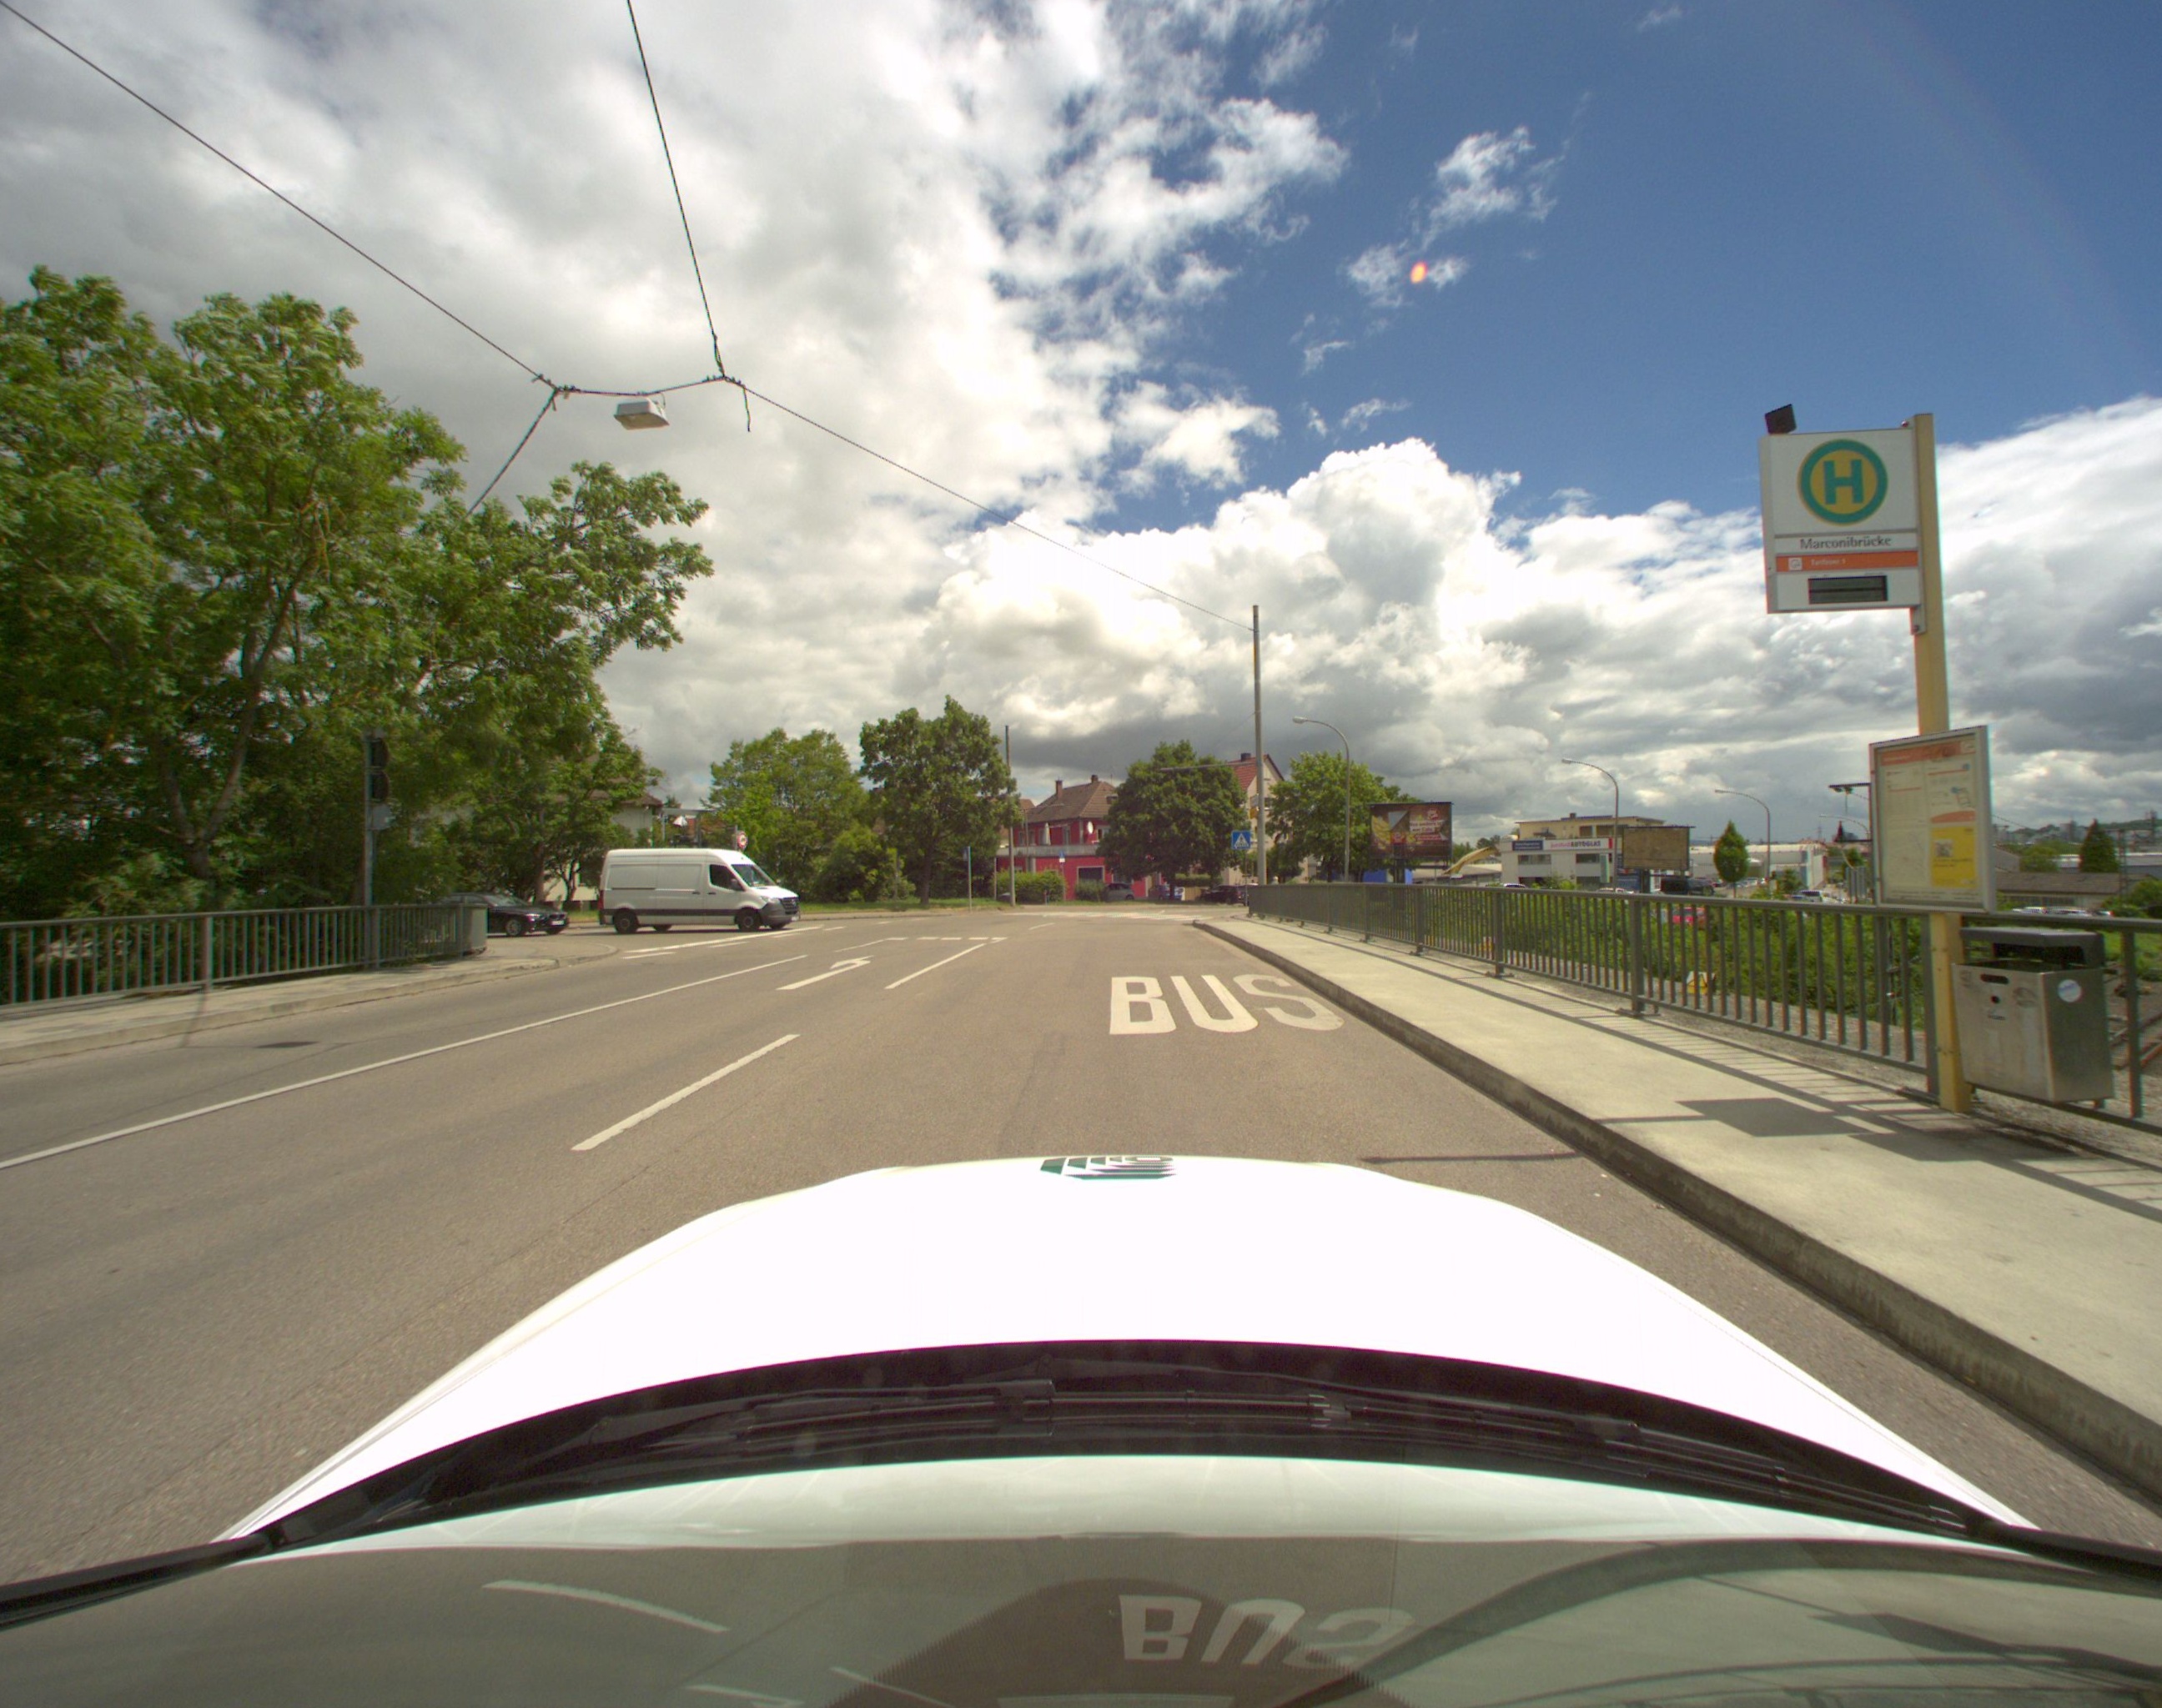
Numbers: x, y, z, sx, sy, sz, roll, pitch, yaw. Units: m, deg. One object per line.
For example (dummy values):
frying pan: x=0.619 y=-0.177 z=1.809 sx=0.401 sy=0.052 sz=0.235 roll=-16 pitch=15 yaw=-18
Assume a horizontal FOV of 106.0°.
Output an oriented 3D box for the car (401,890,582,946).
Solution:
car: x=-18.331 y=1.972 z=25.452 sx=4.197 sy=1.474 sz=2.002 roll=-2 pitch=-2 yaw=3

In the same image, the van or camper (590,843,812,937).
van or camper: x=-11.712 y=1.144 z=25.361 sx=5.882 sy=2.567 sz=2.196 roll=-2 pitch=-3 yaw=4

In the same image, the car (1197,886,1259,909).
car: x=9.879 y=2.903 z=55.130 sx=2.005 sy=1.393 sz=4.104 roll=2 pitch=-2 yaw=-29

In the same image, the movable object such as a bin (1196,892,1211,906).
movable object such as a bin: x=9.735 y=3.585 z=64.635 sx=0.882 sy=1.061 sz=0.751 roll=2 pitch=-2 yaw=-26

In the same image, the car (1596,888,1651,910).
car: x=37.787 y=3.120 z=56.759 sx=3.970 sy=1.480 sz=1.694 roll=2 pitch=-2 yaw=-32

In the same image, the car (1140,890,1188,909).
car: x=6.411 y=3.550 z=63.400 sx=1.848 sy=1.378 sz=3.777 roll=1 pitch=-3 yaw=-29

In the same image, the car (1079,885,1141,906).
car: x=2.063 y=2.881 z=57.067 sx=4.090 sy=1.426 sz=1.629 roll=2 pitch=-2 yaw=-31

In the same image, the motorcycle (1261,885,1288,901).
motorcycle: x=16.286 y=3.291 z=68.540 sx=2.243 sy=1.316 sz=0.911 roll=2 pitch=-2 yaw=-32

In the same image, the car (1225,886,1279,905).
car: x=12.995 y=3.174 z=62.141 sx=1.883 sy=1.404 sz=3.891 roll=2 pitch=-4 yaw=-33

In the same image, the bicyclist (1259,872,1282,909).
bicyclist: x=9.465 y=1.842 z=40.588 sx=0.678 sy=1.826 sz=1.087 roll=-4 pitch=-6 yaw=38
